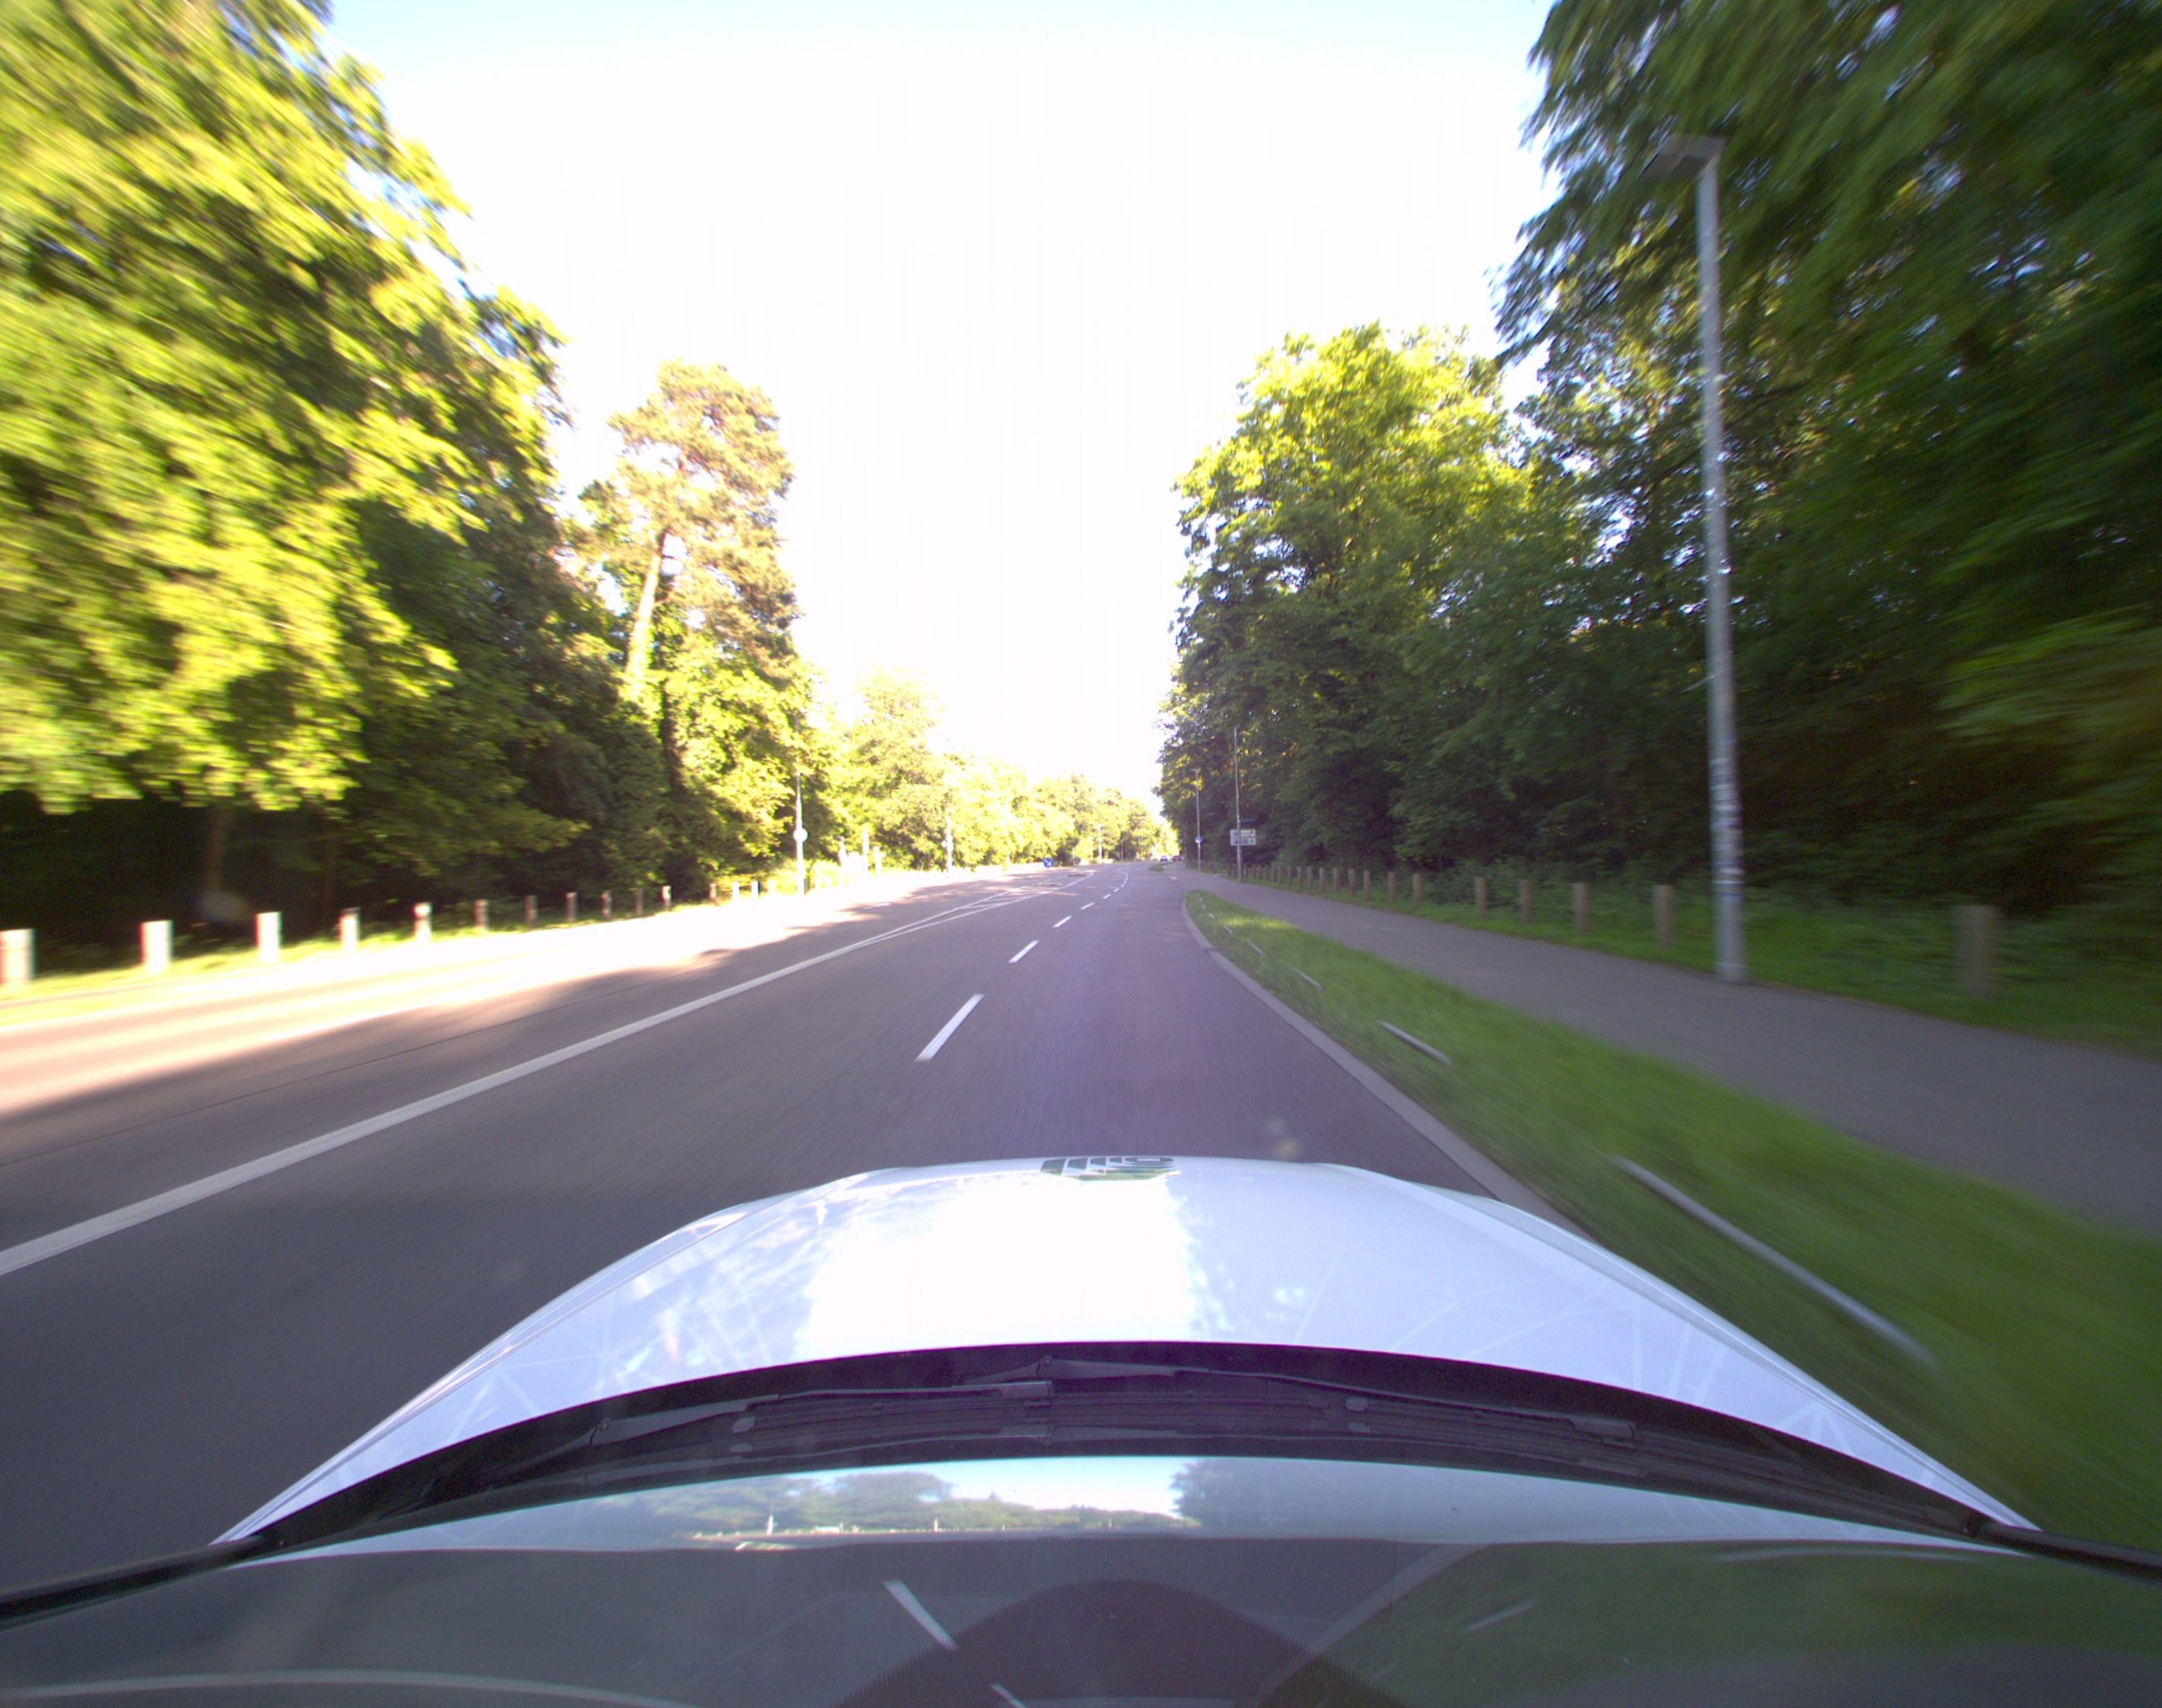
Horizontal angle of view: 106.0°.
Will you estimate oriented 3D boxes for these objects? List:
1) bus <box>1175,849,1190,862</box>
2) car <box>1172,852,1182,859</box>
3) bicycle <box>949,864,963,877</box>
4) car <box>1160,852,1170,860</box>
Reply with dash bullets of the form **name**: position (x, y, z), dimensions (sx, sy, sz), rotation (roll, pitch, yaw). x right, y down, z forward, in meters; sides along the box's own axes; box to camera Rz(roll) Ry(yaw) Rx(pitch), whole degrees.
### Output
- **bus**: position (27.392, 0.400, 218.949), dimensions (2.585, 3.368, 8.010), rotation (-1, 0, 16)
- **car**: position (24.320, 0.361, 206.264), dimensions (1.866, 1.765, 4.018), rotation (-2, 0, 16)
- **bicycle**: position (-10.953, 1.434, 71.237), dimensions (0.398, 1.132, 2.228), rotation (0, 0, 14)
- **car**: position (20.808, 0.438, 201.544), dimensions (1.866, 1.709, 4.018), rotation (-2, 0, 16)
